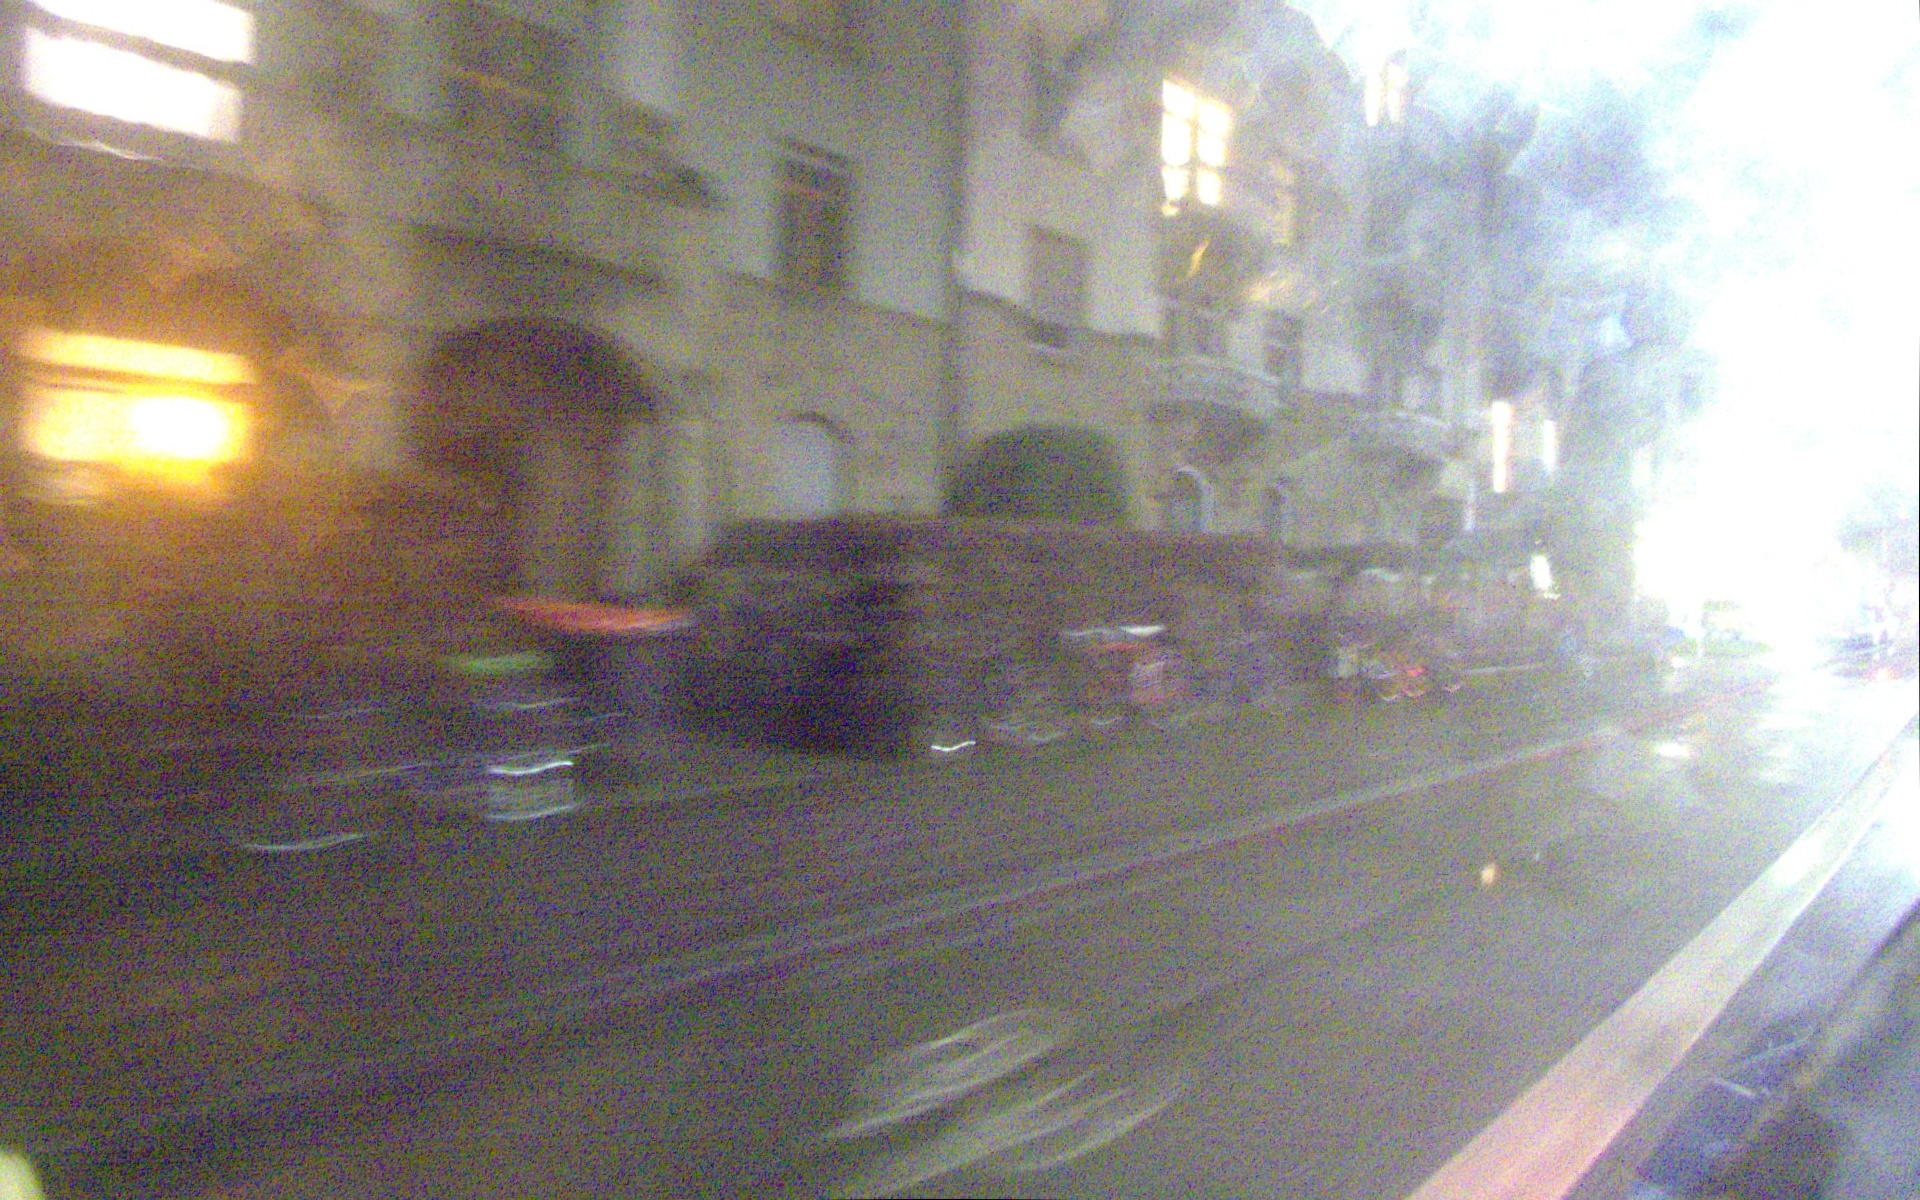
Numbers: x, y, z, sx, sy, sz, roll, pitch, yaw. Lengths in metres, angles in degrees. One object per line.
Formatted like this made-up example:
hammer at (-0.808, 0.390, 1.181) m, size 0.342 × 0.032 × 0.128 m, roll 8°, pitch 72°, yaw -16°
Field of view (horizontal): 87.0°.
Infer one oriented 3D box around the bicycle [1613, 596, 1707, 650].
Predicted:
bicycle at (17.573, 0.560, 25.439) m, size 0.484 × 1.177 × 1.817 m, roll -1°, pitch 4°, yaw -42°

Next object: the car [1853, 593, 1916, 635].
car at (38.910, 0.553, 42.577) m, size 3.521 × 1.543 × 1.650 m, roll 0°, pitch 5°, yaw -44°

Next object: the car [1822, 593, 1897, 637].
car at (34.903, 0.547, 39.231) m, size 3.986 × 1.459 × 1.649 m, roll 0°, pitch 5°, yaw -42°
